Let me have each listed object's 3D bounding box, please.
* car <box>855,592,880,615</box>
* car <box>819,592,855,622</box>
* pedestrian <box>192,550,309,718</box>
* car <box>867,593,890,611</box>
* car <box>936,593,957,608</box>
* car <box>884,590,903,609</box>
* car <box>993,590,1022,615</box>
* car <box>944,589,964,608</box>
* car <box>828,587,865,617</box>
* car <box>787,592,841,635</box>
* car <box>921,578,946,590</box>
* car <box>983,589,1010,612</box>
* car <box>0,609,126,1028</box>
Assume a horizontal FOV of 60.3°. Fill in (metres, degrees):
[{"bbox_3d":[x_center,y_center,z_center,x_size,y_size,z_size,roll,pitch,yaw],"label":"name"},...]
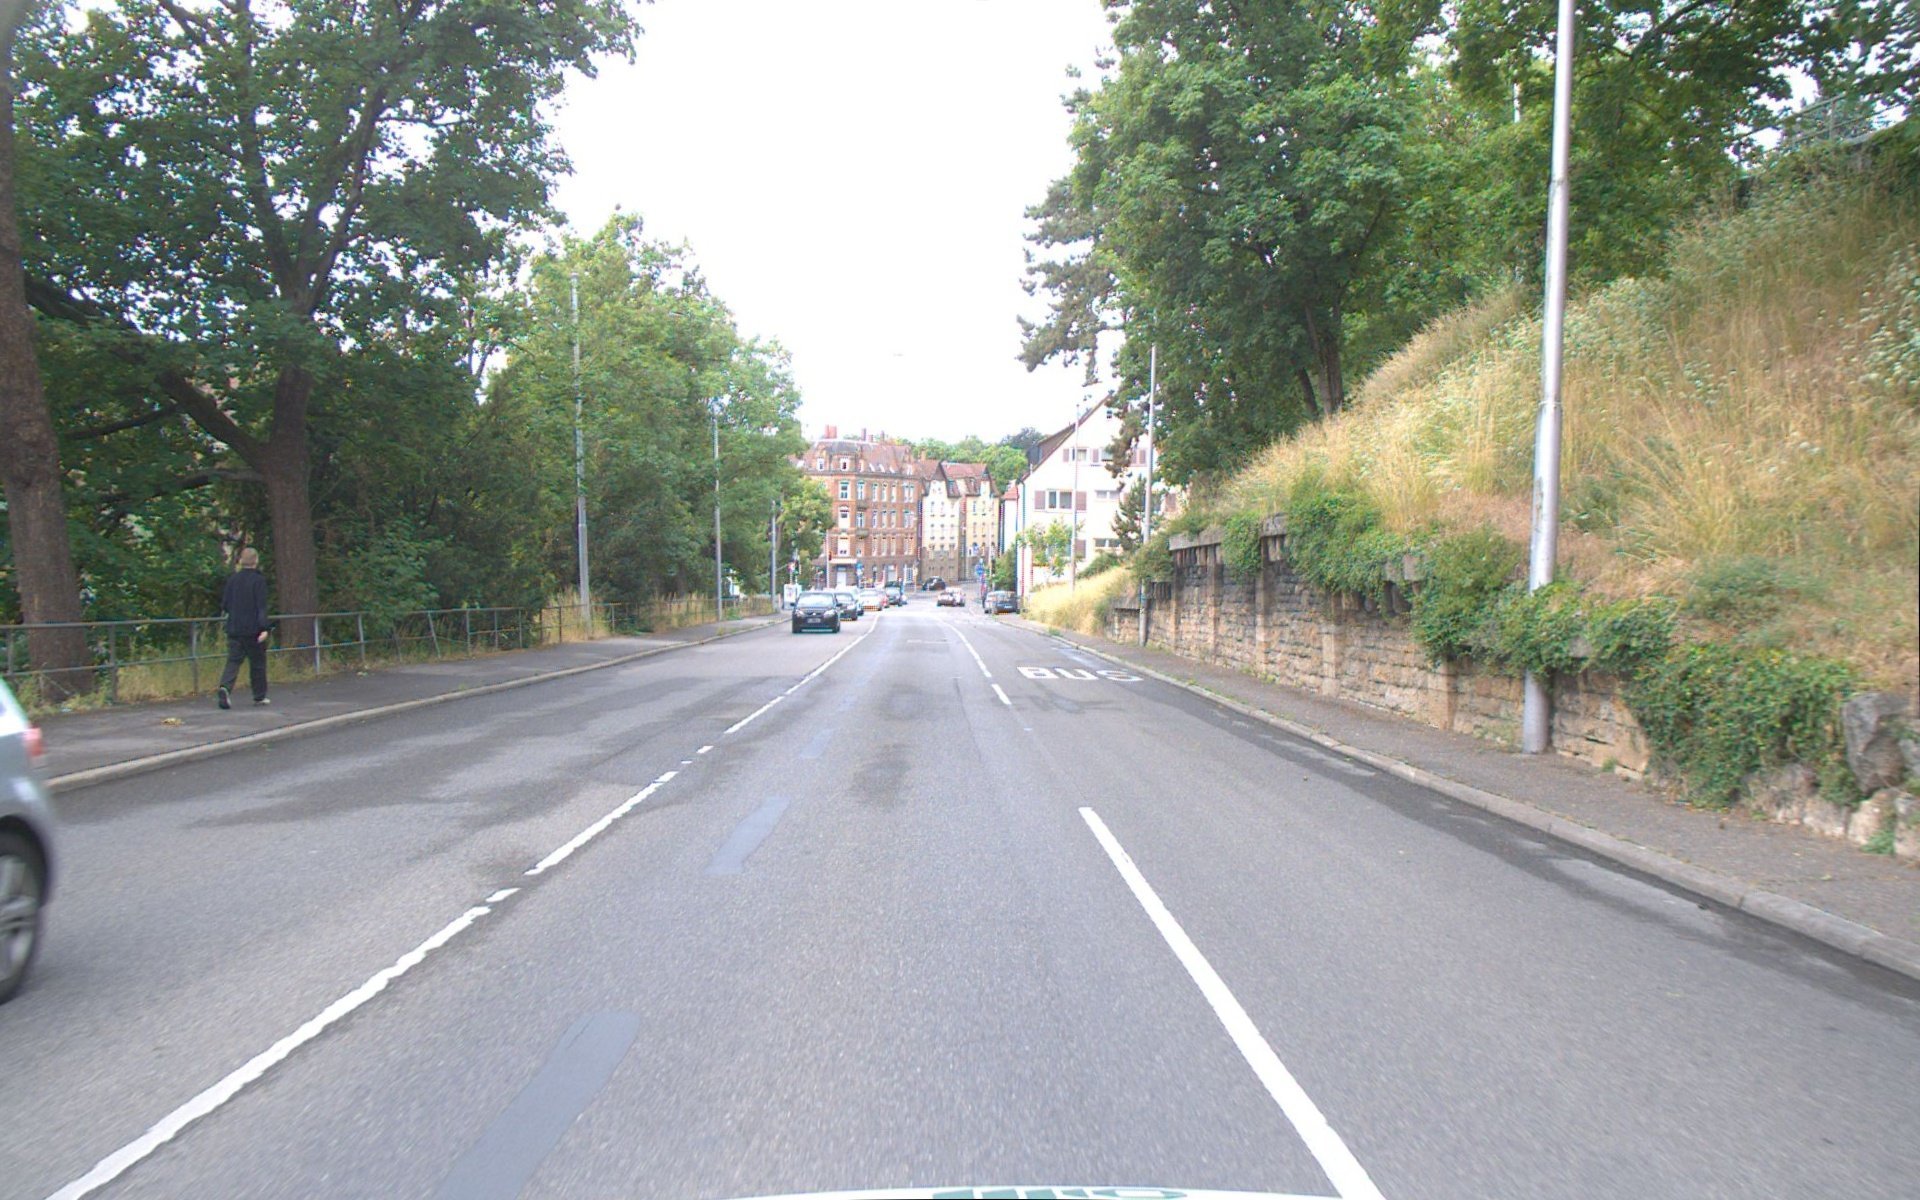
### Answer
[{"bbox_3d":[-6.658,0.219,119.284,1.748,1.602,4.279,-1,0,-2],"label":"car"},{"bbox_3d":[-6.244,0.339,84.131,1.678,1.452,4.137,0,0,-2],"label":"car"},{"bbox_3d":[-8.027,0.365,18.758,0.773,1.805,1.208,3,0,-4],"label":"pedestrian"},{"bbox_3d":[-6.694,0.157,135.894,1.748,1.485,4.427,-1,0,-2],"label":"car"},{"bbox_3d":[-1.360,0.078,168.736,1.778,1.455,4.002,2,0,3],"label":"car"},{"bbox_3d":[-6.234,-0.055,155.522,1.747,1.776,4.427,-1,0,-1],"label":"car"},{"bbox_3d":[3.096,0.168,108.482,1.648,1.476,3.999,-3,0,-1],"label":"car"},{"bbox_3d":[-0.635,-0.181,175.495,1.869,1.917,4.001,2,0,3],"label":"car"},{"bbox_3d":[-6.812,0.110,99.454,1.955,1.712,4.662,-1,0,-1],"label":"car"},{"bbox_3d":[-5.179,0.450,59.134,1.635,1.472,3.687,0,0,-1],"label":"car"},{"bbox_3d":[-3.607,-2.149,225.039,1.940,1.602,4.377,-2,0,19],"label":"car"},{"bbox_3d":[2.608,0.037,117.243,1.757,1.476,4.720,-3,1,2],"label":"car"},{"bbox_3d":[-4.198,0.768,4.560,1.758,1.452,4.142,0,0,-1],"label":"car"}]
